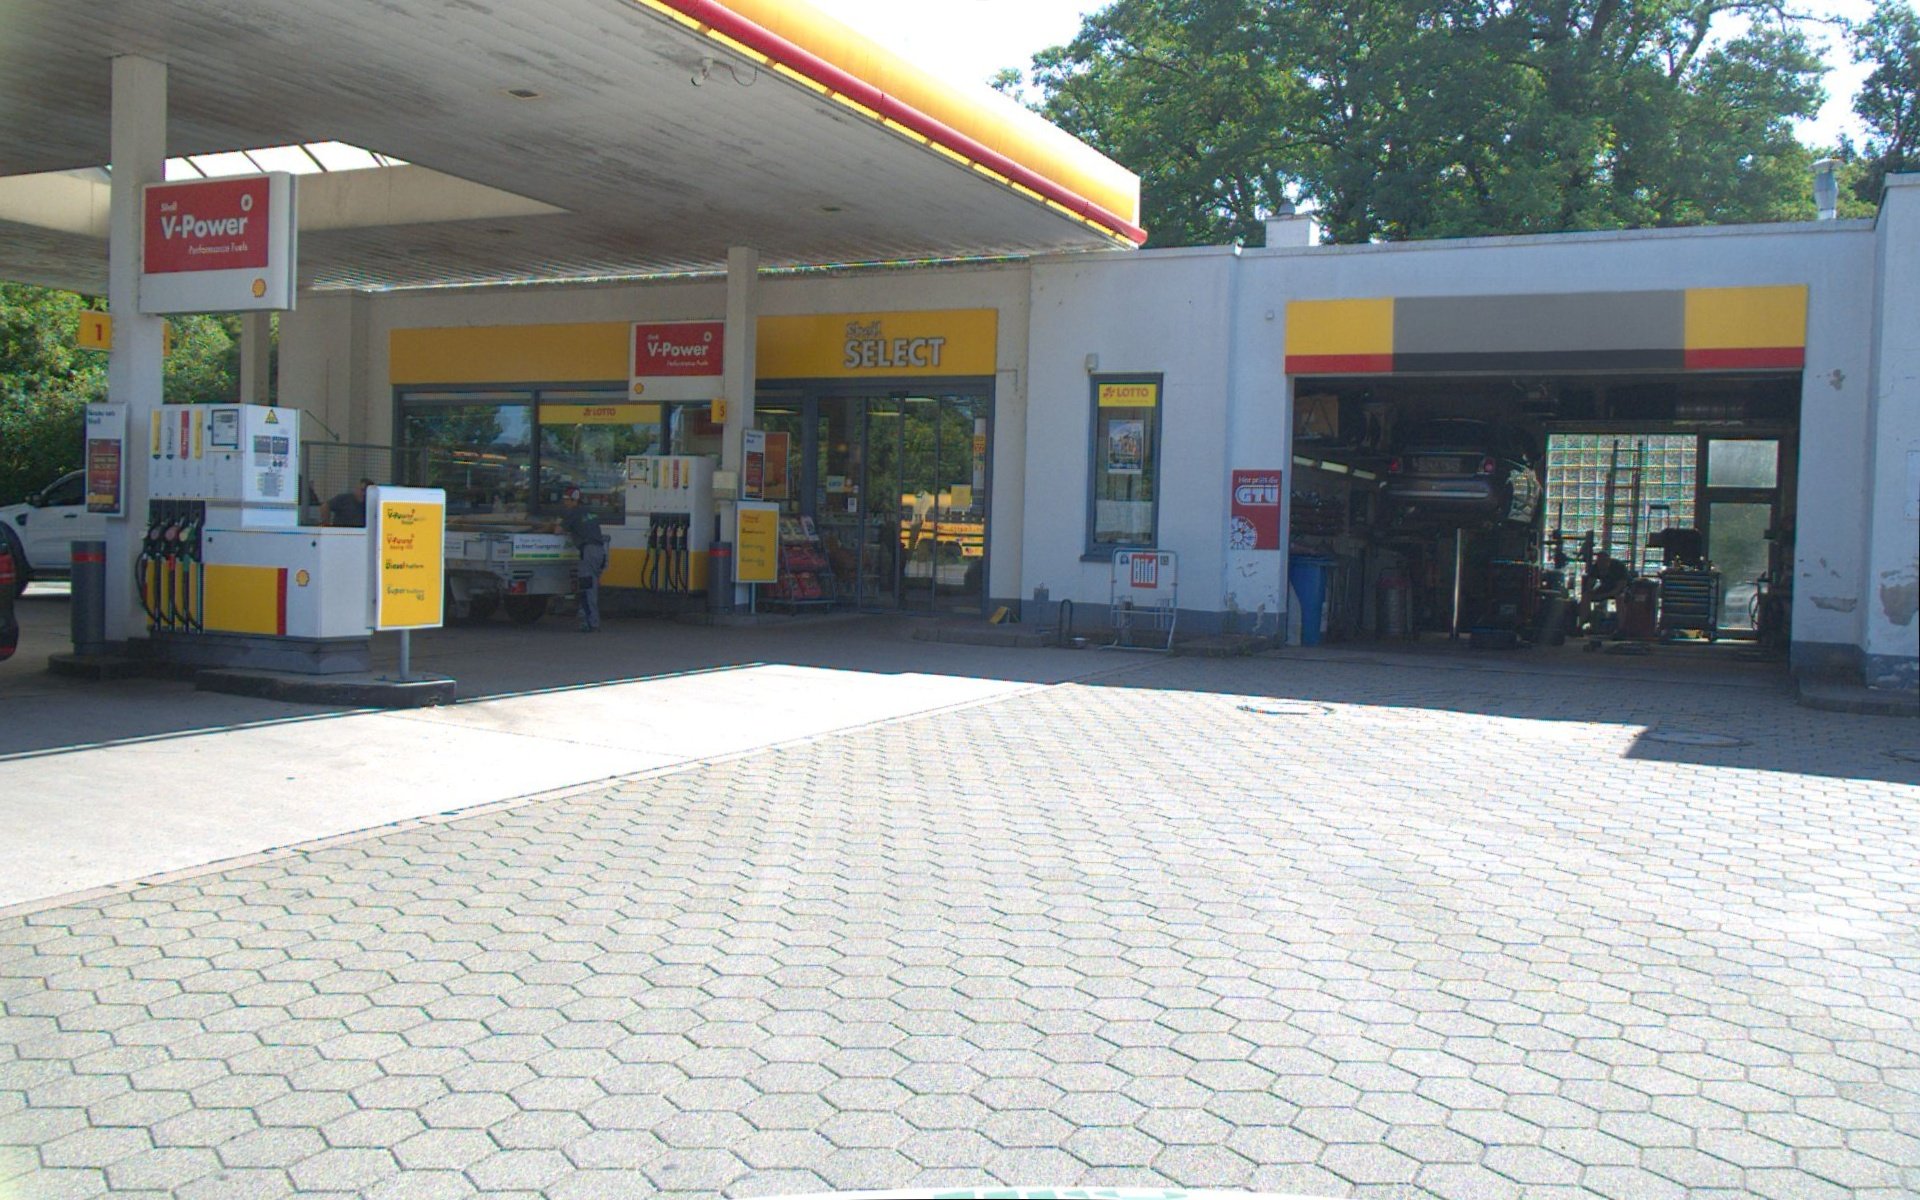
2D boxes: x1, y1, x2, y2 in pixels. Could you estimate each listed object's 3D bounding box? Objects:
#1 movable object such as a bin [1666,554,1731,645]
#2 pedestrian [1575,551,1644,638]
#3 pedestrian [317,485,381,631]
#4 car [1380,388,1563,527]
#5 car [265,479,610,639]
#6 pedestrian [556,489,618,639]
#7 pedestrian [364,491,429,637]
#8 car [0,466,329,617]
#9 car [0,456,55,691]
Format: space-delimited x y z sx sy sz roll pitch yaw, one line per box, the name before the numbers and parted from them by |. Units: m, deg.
movable object such as a bin | 10.572 -0.009 23.680 0.782 1.258 0.543 2 0 28
pedestrian | 9.381 -0.078 23.883 0.846 1.218 0.742 2 0 25
pedestrian | -7.076 -0.485 19.165 0.465 1.659 0.500 2 2 30
car | 6.986 -1.838 22.344 1.615 1.512 3.994 2 0 28
car | -6.330 -0.529 19.963 3.913 1.758 1.830 2 2 30
pedestrian | -4.307 -0.420 19.122 0.489 1.697 0.475 2 2 28
pedestrian | -6.369 -0.410 18.696 0.465 1.621 0.500 2 2 30
car | -11.013 -0.830 22.434 4.671 1.869 1.856 2 2 25
car | -8.454 -0.237 11.640 3.788 1.605 1.764 2 2 25
